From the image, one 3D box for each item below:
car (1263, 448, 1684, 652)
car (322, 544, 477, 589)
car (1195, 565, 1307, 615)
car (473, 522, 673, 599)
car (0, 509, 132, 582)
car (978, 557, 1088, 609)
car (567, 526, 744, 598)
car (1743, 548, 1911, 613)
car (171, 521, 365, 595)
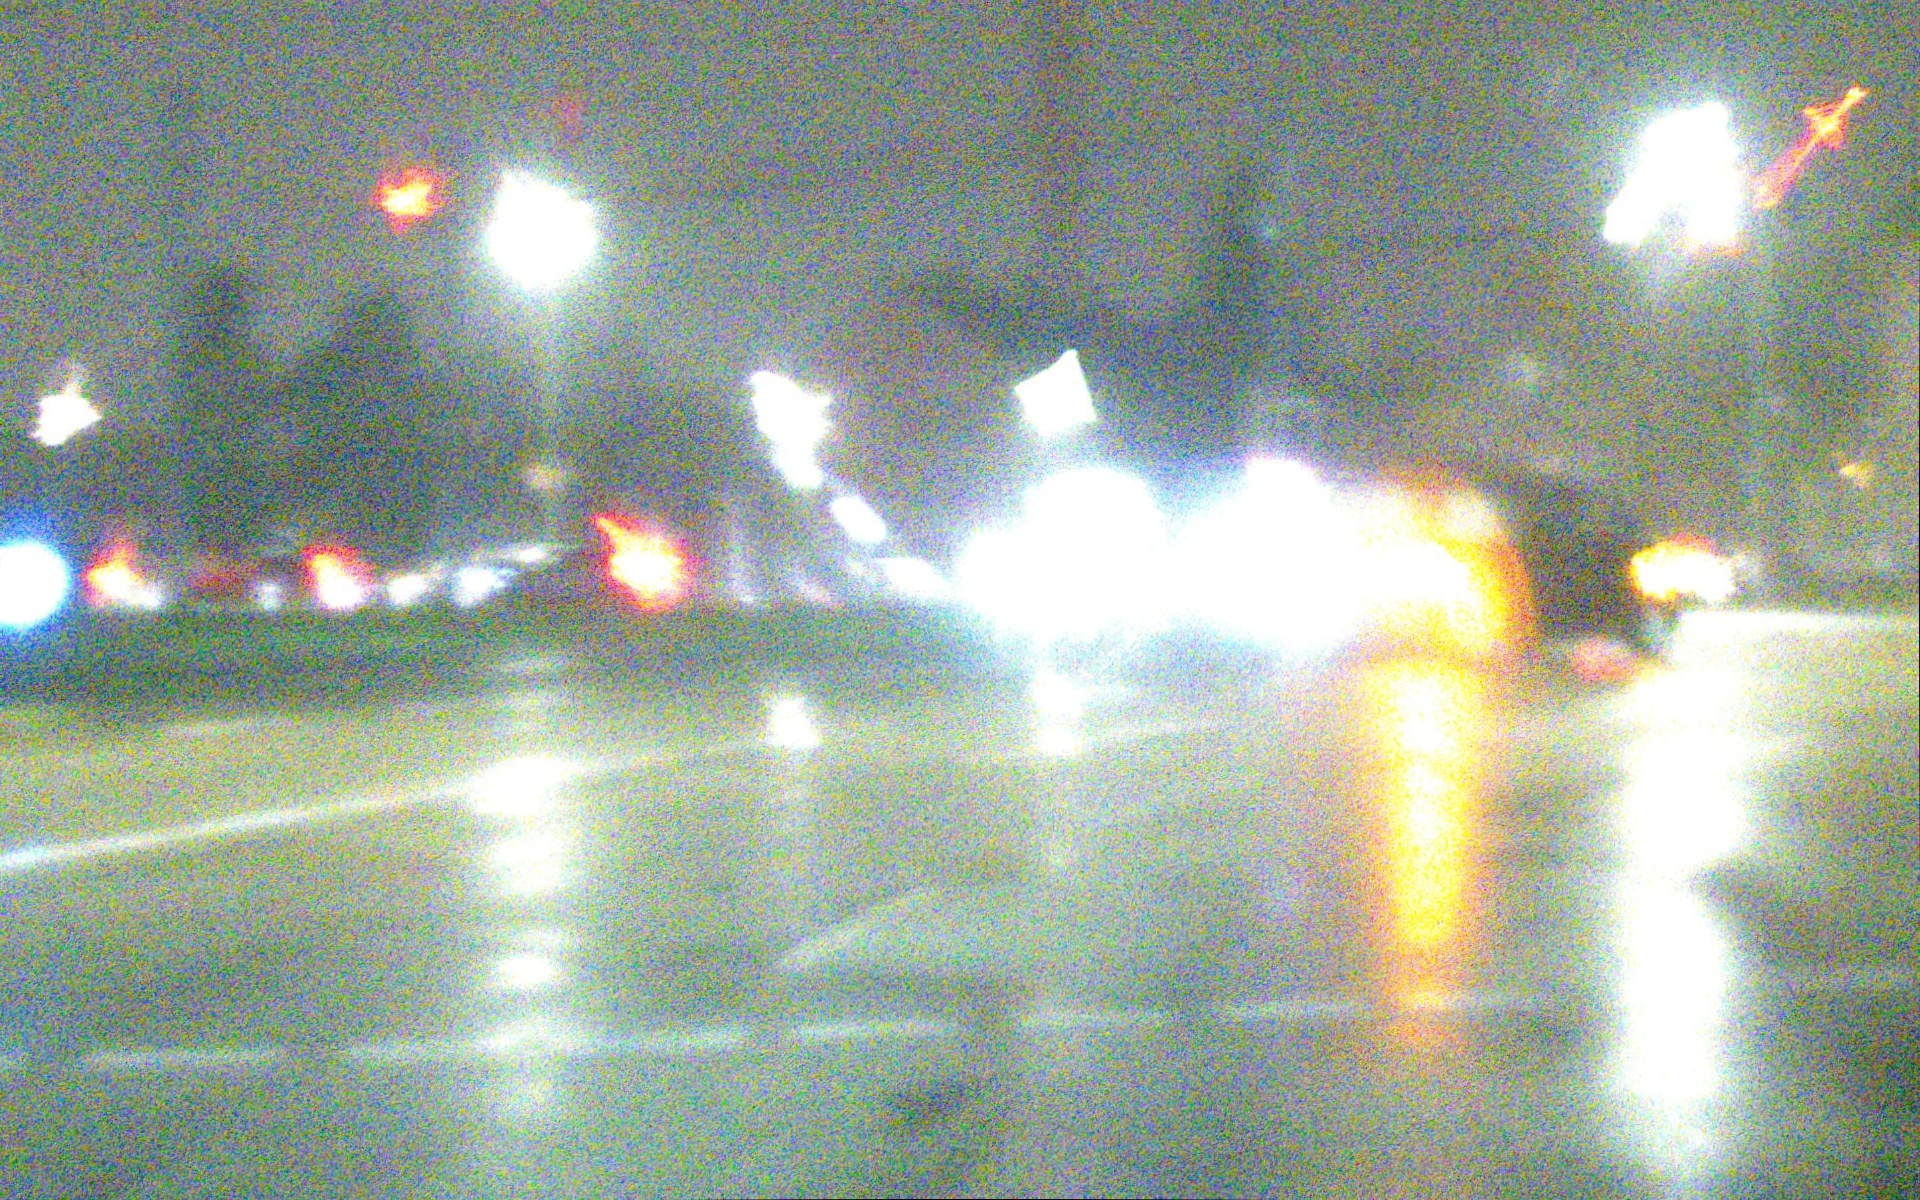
[{"bbox_3d":[5.468,-0.518,36.249,4.545,2.007,1.999,0,1,-44],"label":"car"},{"bbox_3d":[-13.644,-0.826,83.777,3.616,1.028,1.476,1,1,-5],"label":"car"},{"bbox_3d":[10.524,-0.377,124.172,1.997,1.730,4.611,1,1,34],"label":"car"},{"bbox_3d":[-8.555,-0.886,76.033,3.991,1.610,1.835,1,1,21],"label":"car"},{"bbox_3d":[-20.654,-1.225,76.909,3.951,1.573,1.737,1,1,-7],"label":"car"},{"bbox_3d":[2.368,-0.550,111.041,1.861,1.634,3.884,1,1,31],"label":"car"},{"bbox_3d":[-6.974,-0.881,78.837,3.621,1.573,1.735,1,1,21],"label":"car"},{"bbox_3d":[23.538,-0.546,93.373,3.994,1.678,1.915,1,1,32],"label":"car"},{"bbox_3d":[-15.496,-0.952,77.133,3.951,1.573,1.877,1,1,0],"label":"car"}]
